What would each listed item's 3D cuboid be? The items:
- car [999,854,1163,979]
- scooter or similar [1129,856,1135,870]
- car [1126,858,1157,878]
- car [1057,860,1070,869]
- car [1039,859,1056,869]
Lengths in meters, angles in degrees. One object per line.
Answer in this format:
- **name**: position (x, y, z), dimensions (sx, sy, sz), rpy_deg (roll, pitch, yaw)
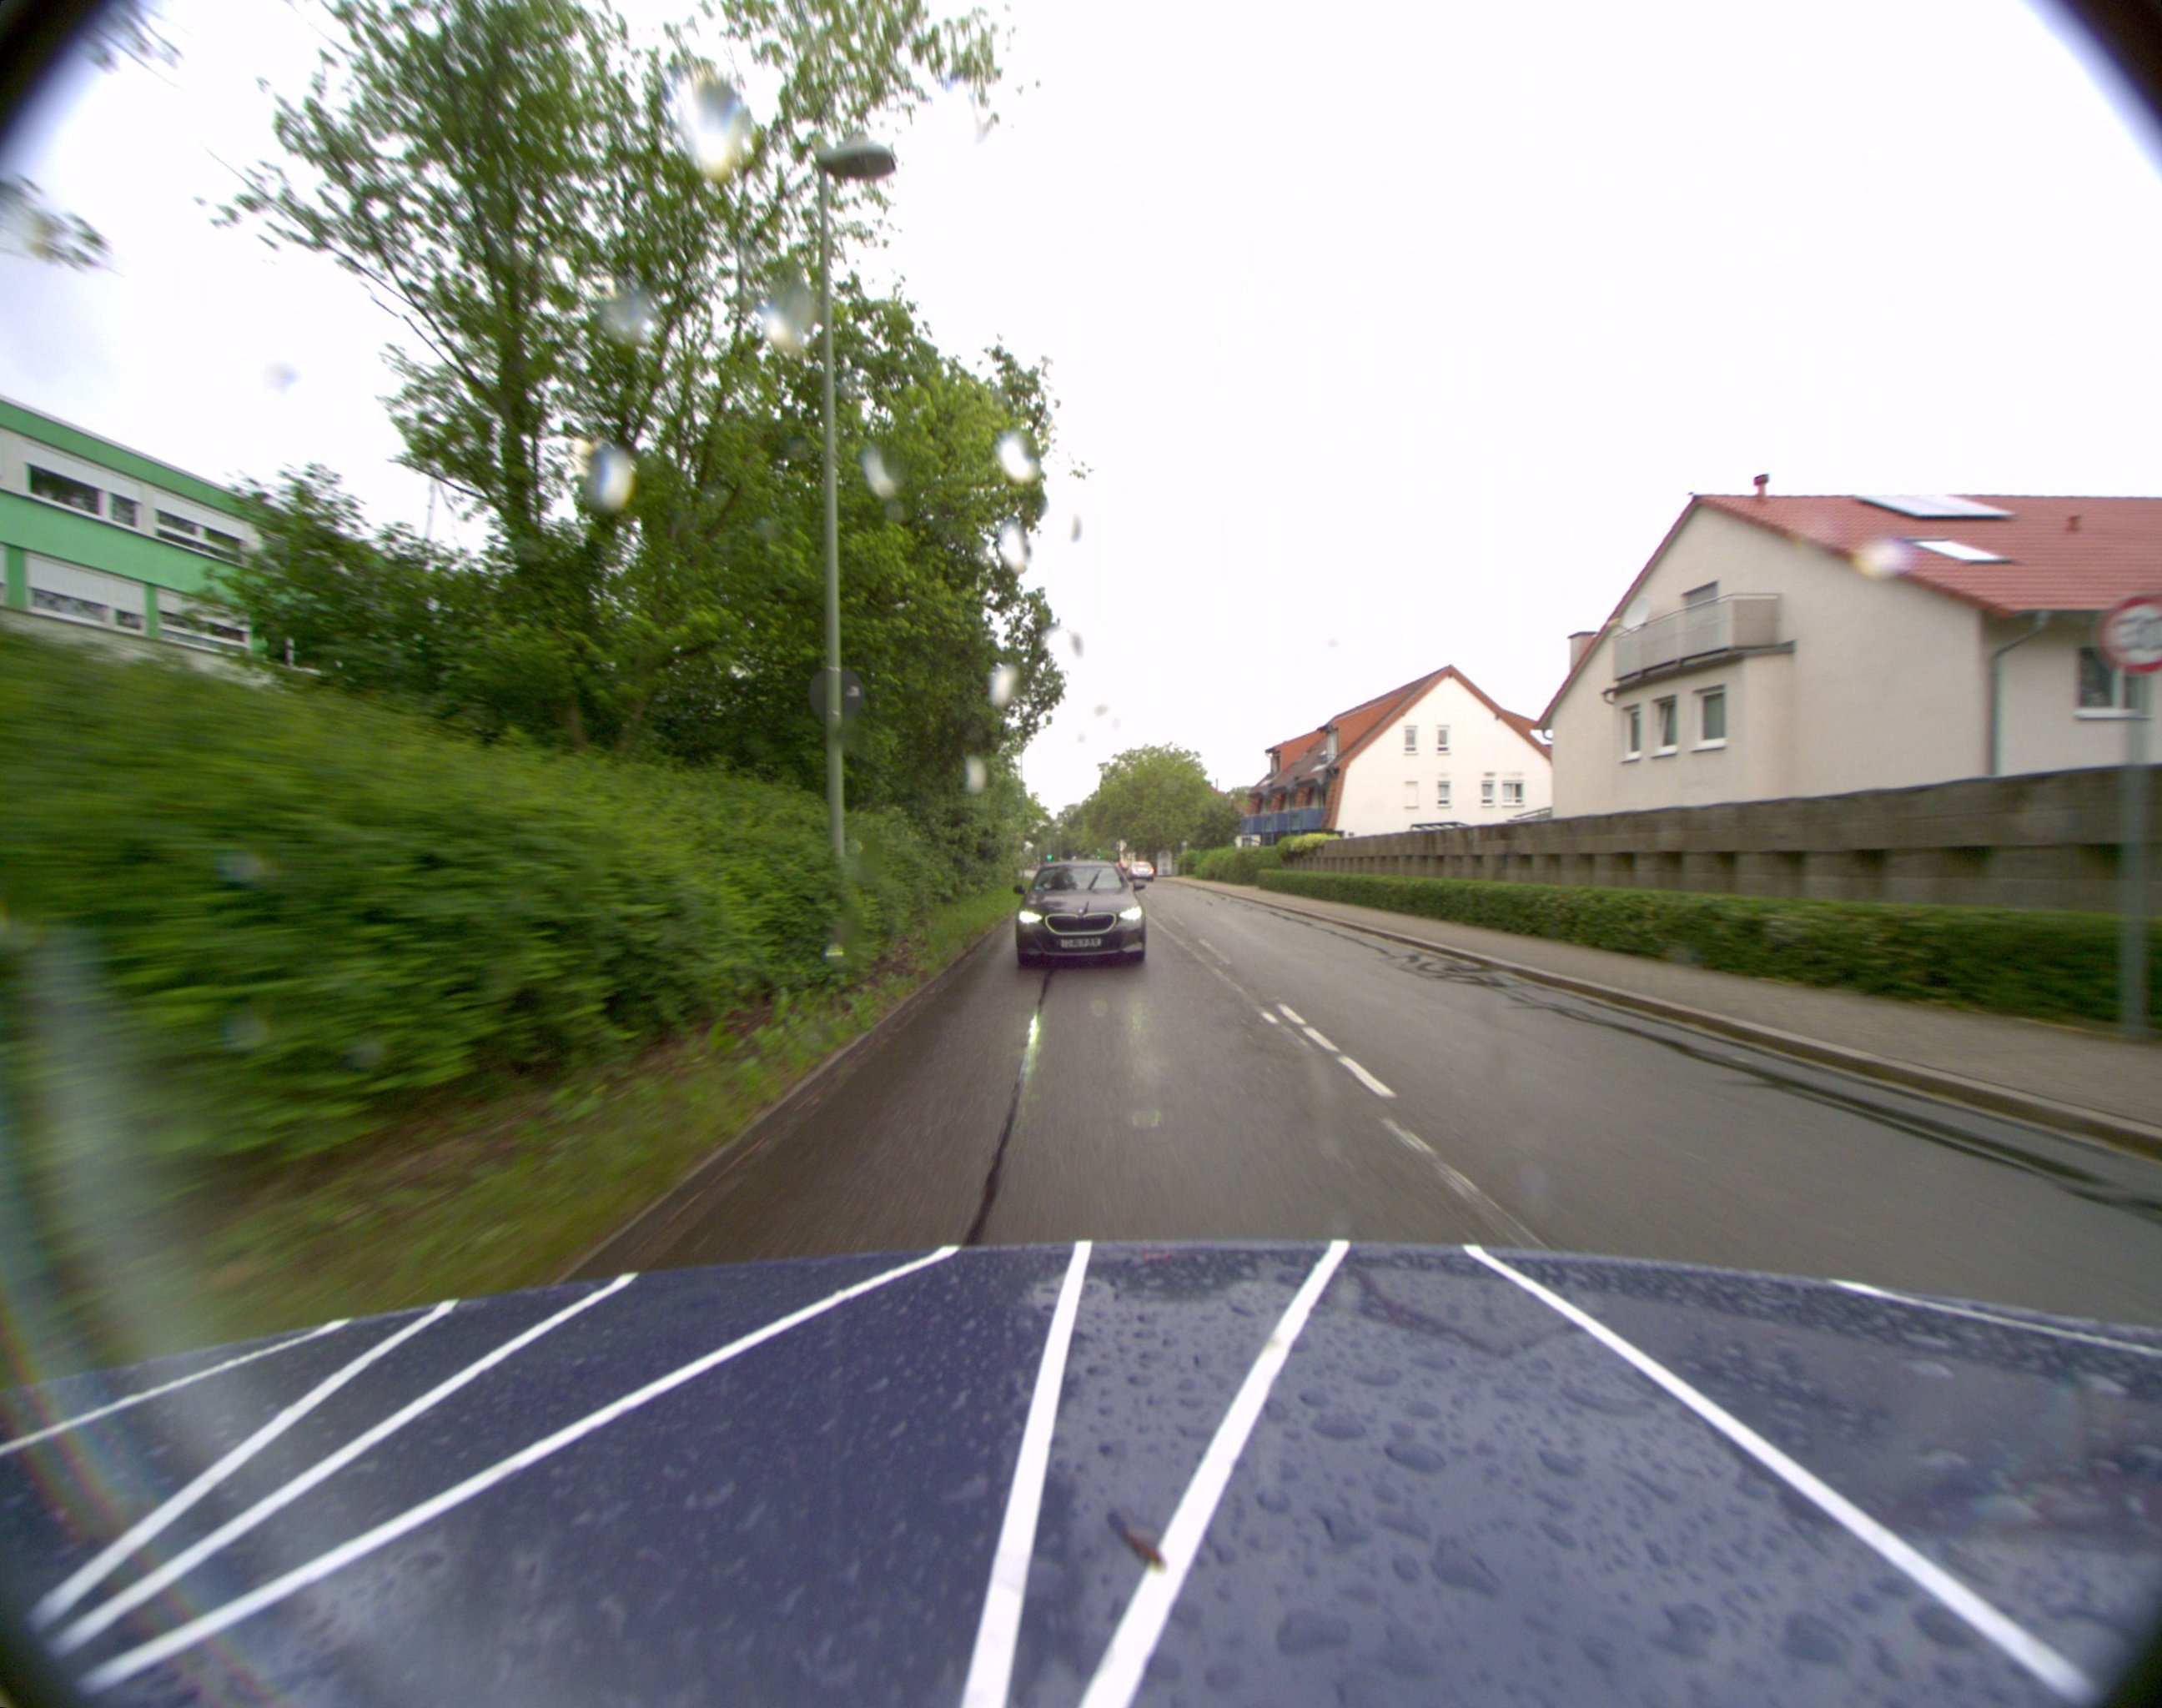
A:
- **car**: position (-0.198, 0.876, 12.357), dimensions (2.000, 1.586, 4.145), rpy_deg (-3, -1, -9)
- **scooter or similar**: position (6.251, 1.098, 93.638), dimensions (0.402, 1.765, 1.511), rpy_deg (-2, 1, -9)
- **car**: position (4.461, 1.013, 56.368), dimensions (1.998, 1.411, 4.486), rpy_deg (1, 0, 1)
- **car**: position (-3.144, 1.869, 133.459), dimensions (1.999, 1.420, 4.387), rpy_deg (4, -2, -5)
- **car**: position (-6.127, 1.854, 139.241), dimensions (2.001, 1.651, 4.298), rpy_deg (0, -1, -17)
